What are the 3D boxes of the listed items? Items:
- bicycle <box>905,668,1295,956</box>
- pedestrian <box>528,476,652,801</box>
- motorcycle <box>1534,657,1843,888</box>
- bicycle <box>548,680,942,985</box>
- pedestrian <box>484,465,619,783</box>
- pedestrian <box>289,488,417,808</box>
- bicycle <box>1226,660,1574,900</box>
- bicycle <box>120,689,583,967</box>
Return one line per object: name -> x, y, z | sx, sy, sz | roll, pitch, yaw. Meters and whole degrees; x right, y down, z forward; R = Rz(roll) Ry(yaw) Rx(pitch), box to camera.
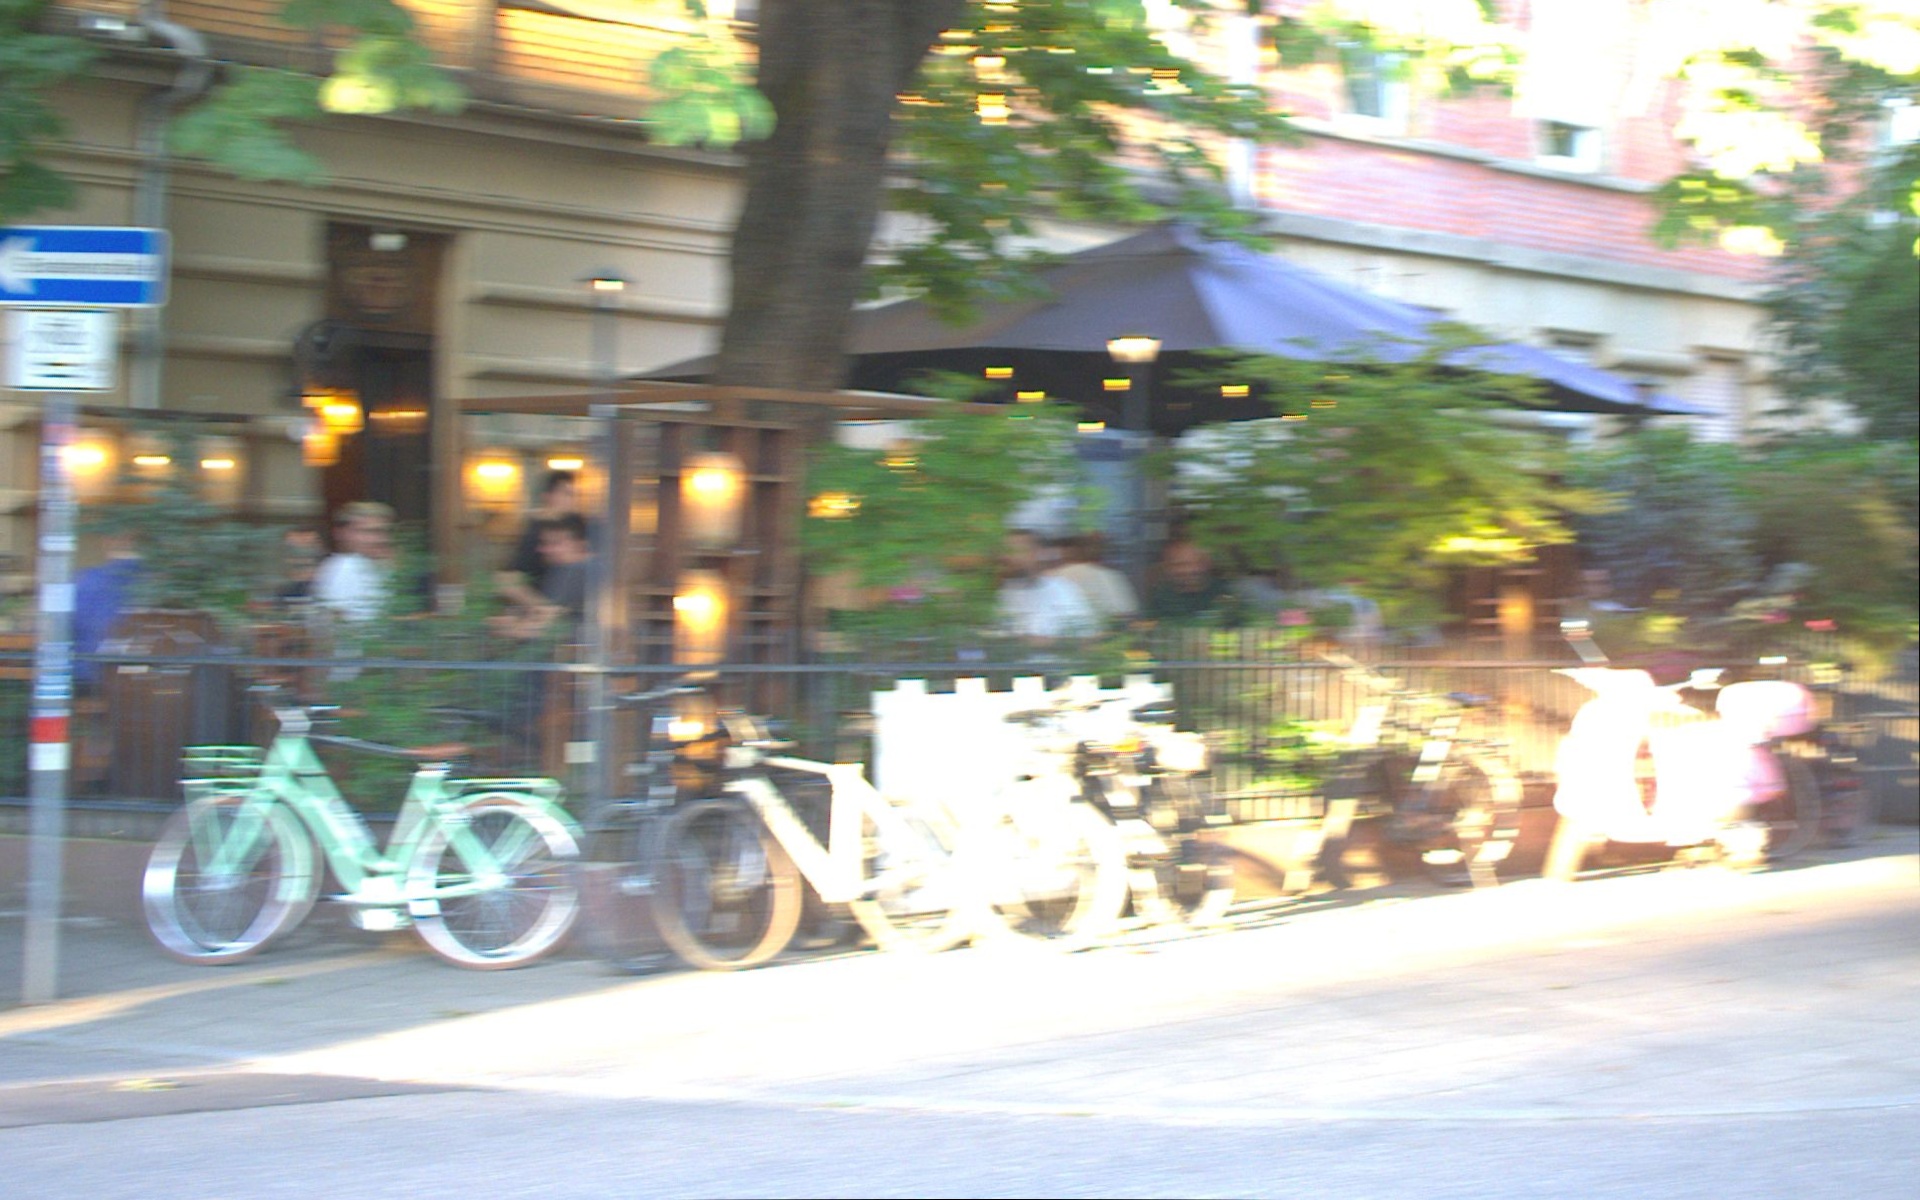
bicycle -> 0.647, 0.906, 15.242 | 1.951, 1.181, 0.392 | 1, 3, -42
pedestrian -> -1.673, 0.168, 15.595 | 0.428, 1.446, 0.463 | 0, 1, 13
motorcycle -> 3.965, 0.919, 18.624 | 1.950, 1.181, 0.392 | 1, 1, -36
bicycle -> -0.856, 0.921, 14.086 | 1.741, 1.140, 0.392 | 0, 1, -42
pedestrian -> -1.977, 0.111, 16.673 | 0.523, 1.514, 0.463 | 0, 1, 13
pedestrian -> -2.786, 0.215, 15.809 | 0.428, 1.446, 0.463 | 0, 1, 13
bicycle -> 2.244, 0.898, 17.388 | 1.950, 1.140, 0.392 | 2, 2, -36
bicycle -> -2.480, 0.920, 14.056 | 1.823, 1.094, 0.392 | 0, 1, 6
